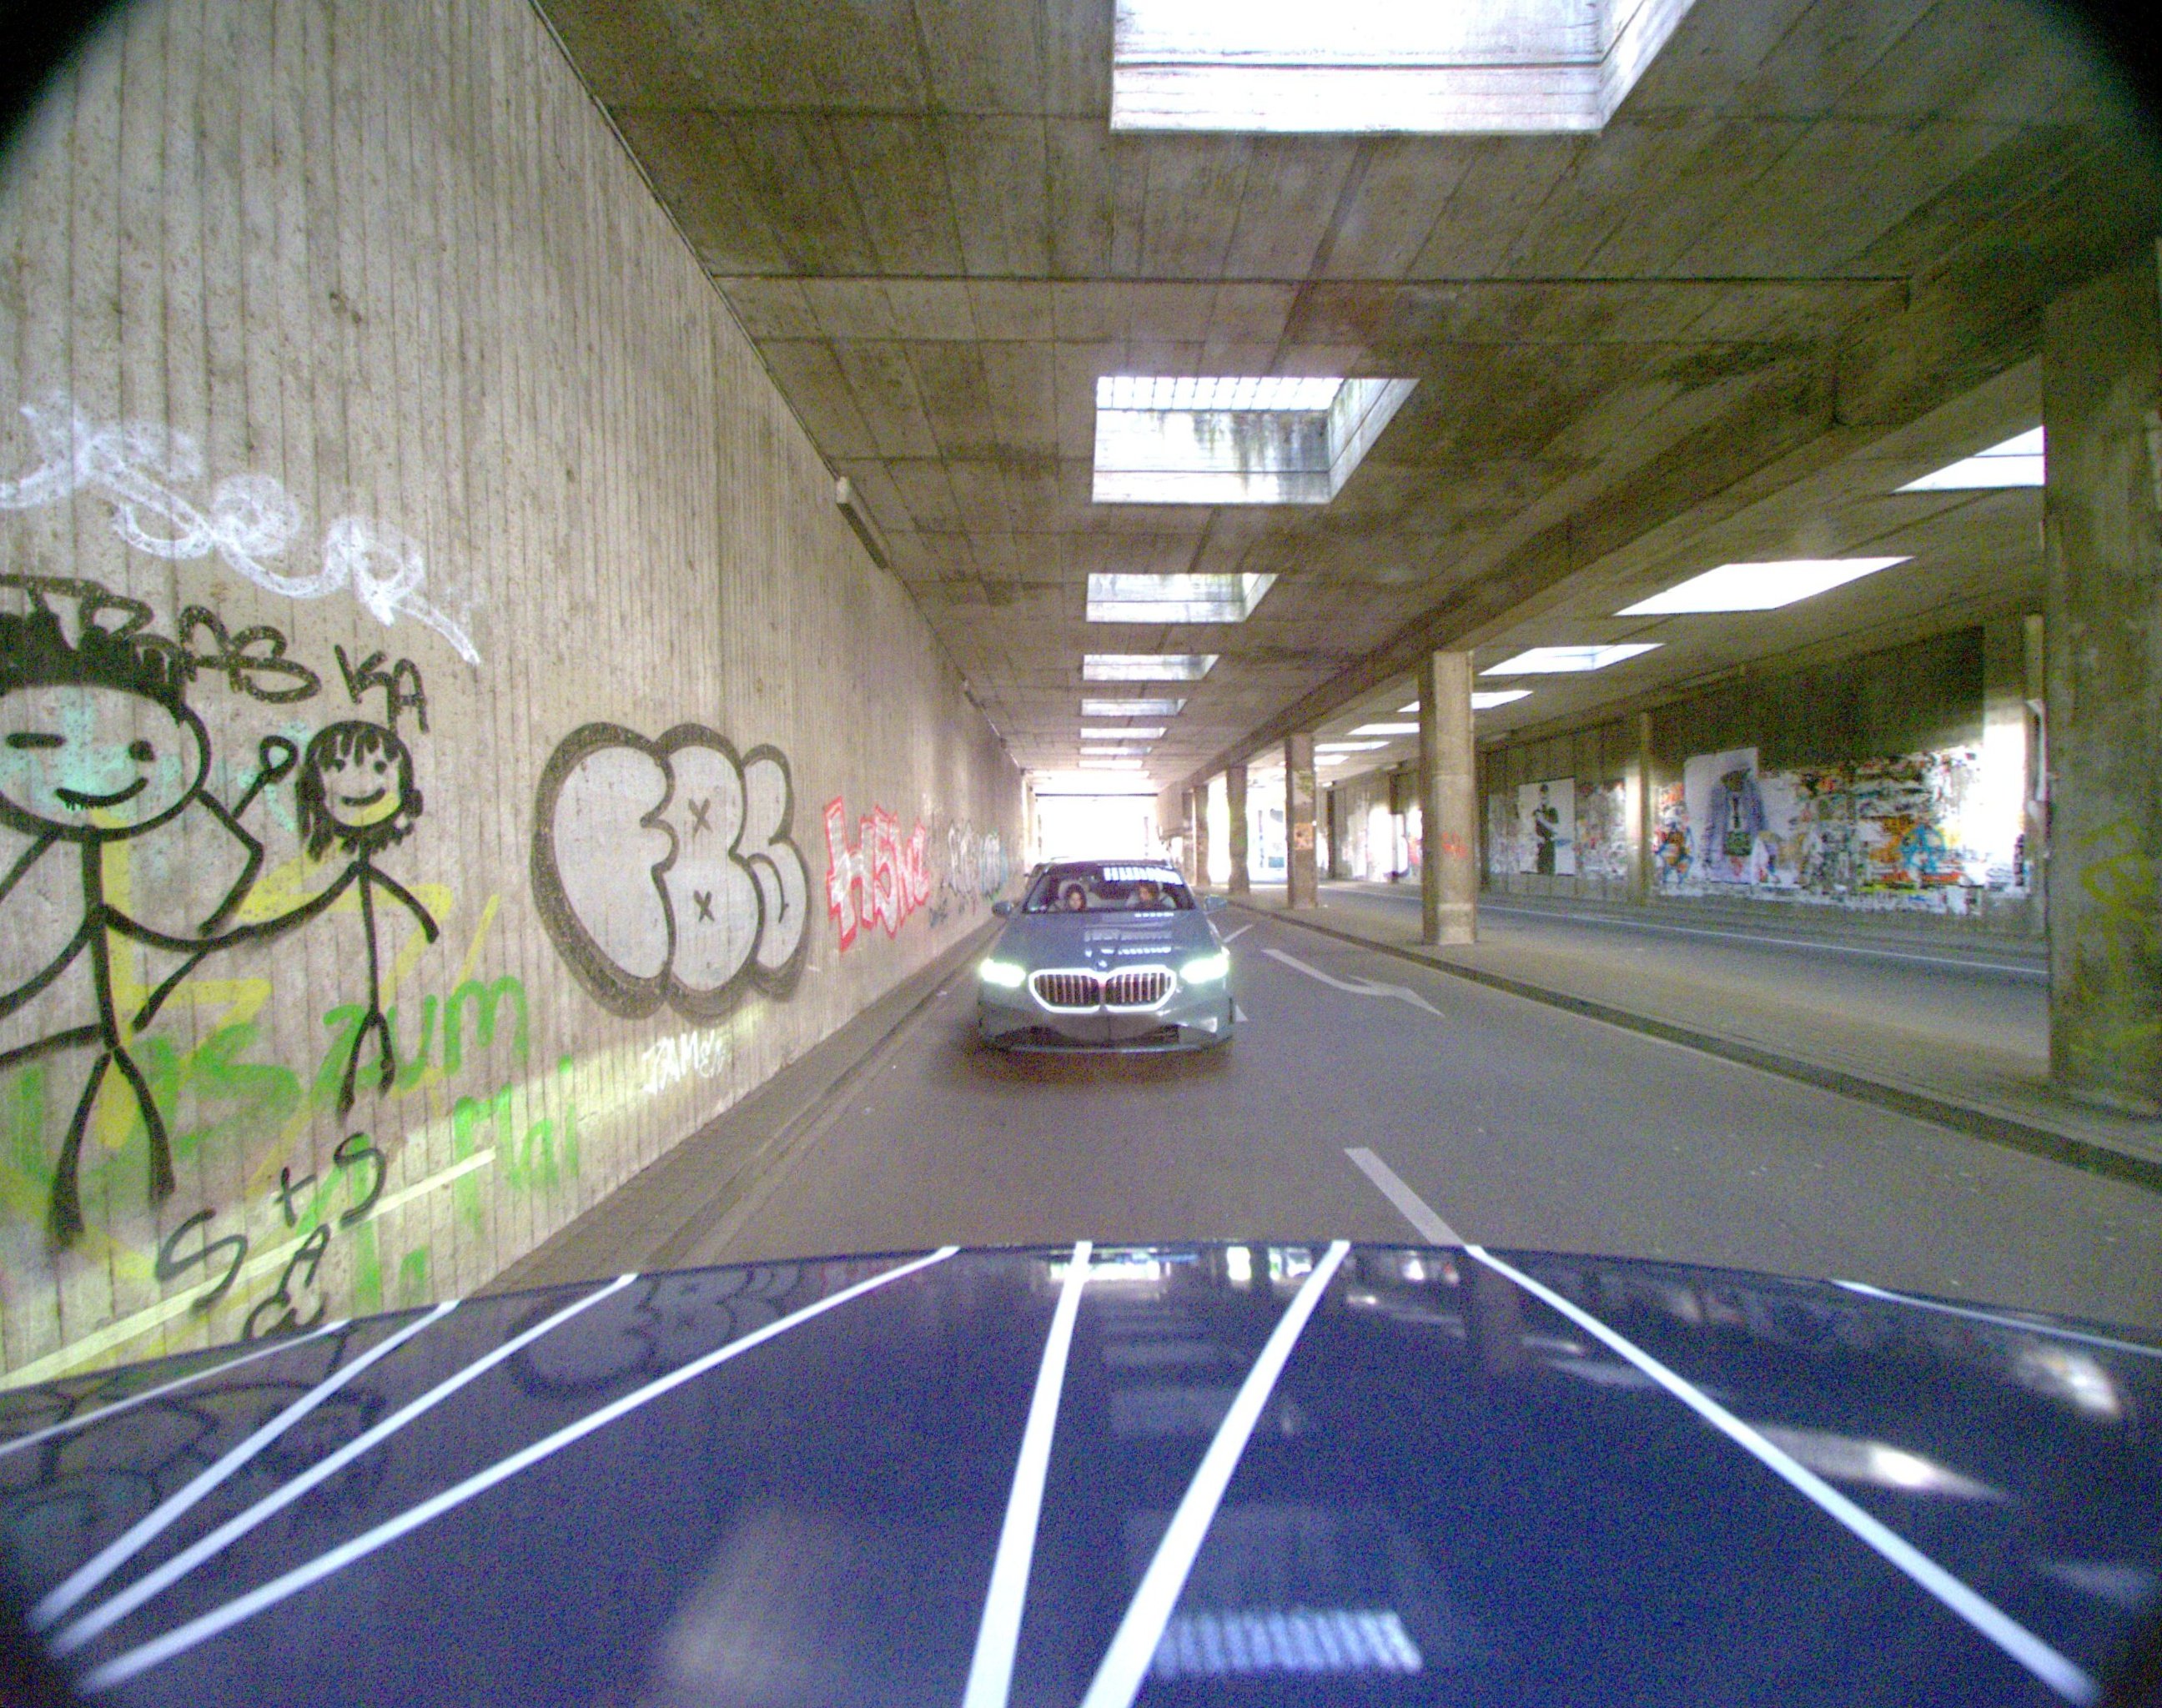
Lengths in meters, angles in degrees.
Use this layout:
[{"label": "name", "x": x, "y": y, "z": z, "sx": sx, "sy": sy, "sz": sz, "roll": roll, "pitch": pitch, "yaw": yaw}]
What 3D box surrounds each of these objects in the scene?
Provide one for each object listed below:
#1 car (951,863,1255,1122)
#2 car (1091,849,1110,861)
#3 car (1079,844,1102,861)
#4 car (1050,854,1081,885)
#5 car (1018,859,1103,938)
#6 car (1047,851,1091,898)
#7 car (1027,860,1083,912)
[{"label": "car", "x": 0.128, "y": 0.900, "z": 7.272, "sx": 1.861, "sy": 1.516, "sz": 5.042, "roll": -2, "pitch": 0, "yaw": 0}, {"label": "car", "x": 2.486, "y": 0.135, "z": 97.960, "sx": 1.741, "sy": 1.519, "sz": 3.786, "roll": -2, "pitch": 0, "yaw": -9}, {"label": "car", "x": 1.289, "y": -0.196, "z": 103.653, "sx": 2.161, "sy": 2.150, "sz": 4.785, "roll": -2, "pitch": 0, "yaw": -12}, {"label": "car", "x": -0.804, "y": 0.799, "z": 41.241, "sx": 1.592, "sy": 1.562, "sz": 3.694, "roll": -2, "pitch": 0, "yaw": 0}, {"label": "car", "x": -0.425, "y": 0.914, "z": 17.281, "sx": 1.679, "sy": 1.516, "sz": 3.969, "roll": -2, "pitch": 0, "yaw": 0}, {"label": "car", "x": -0.461, "y": 0.765, "z": 29.913, "sx": 1.592, "sy": 1.711, "sz": 3.694, "roll": -2, "pitch": 0, "yaw": 0}, {"label": "car", "x": -0.760, "y": 0.942, "z": 23.907, "sx": 1.592, "sy": 1.432, "sz": 3.806, "roll": -2, "pitch": 0, "yaw": 0}]
